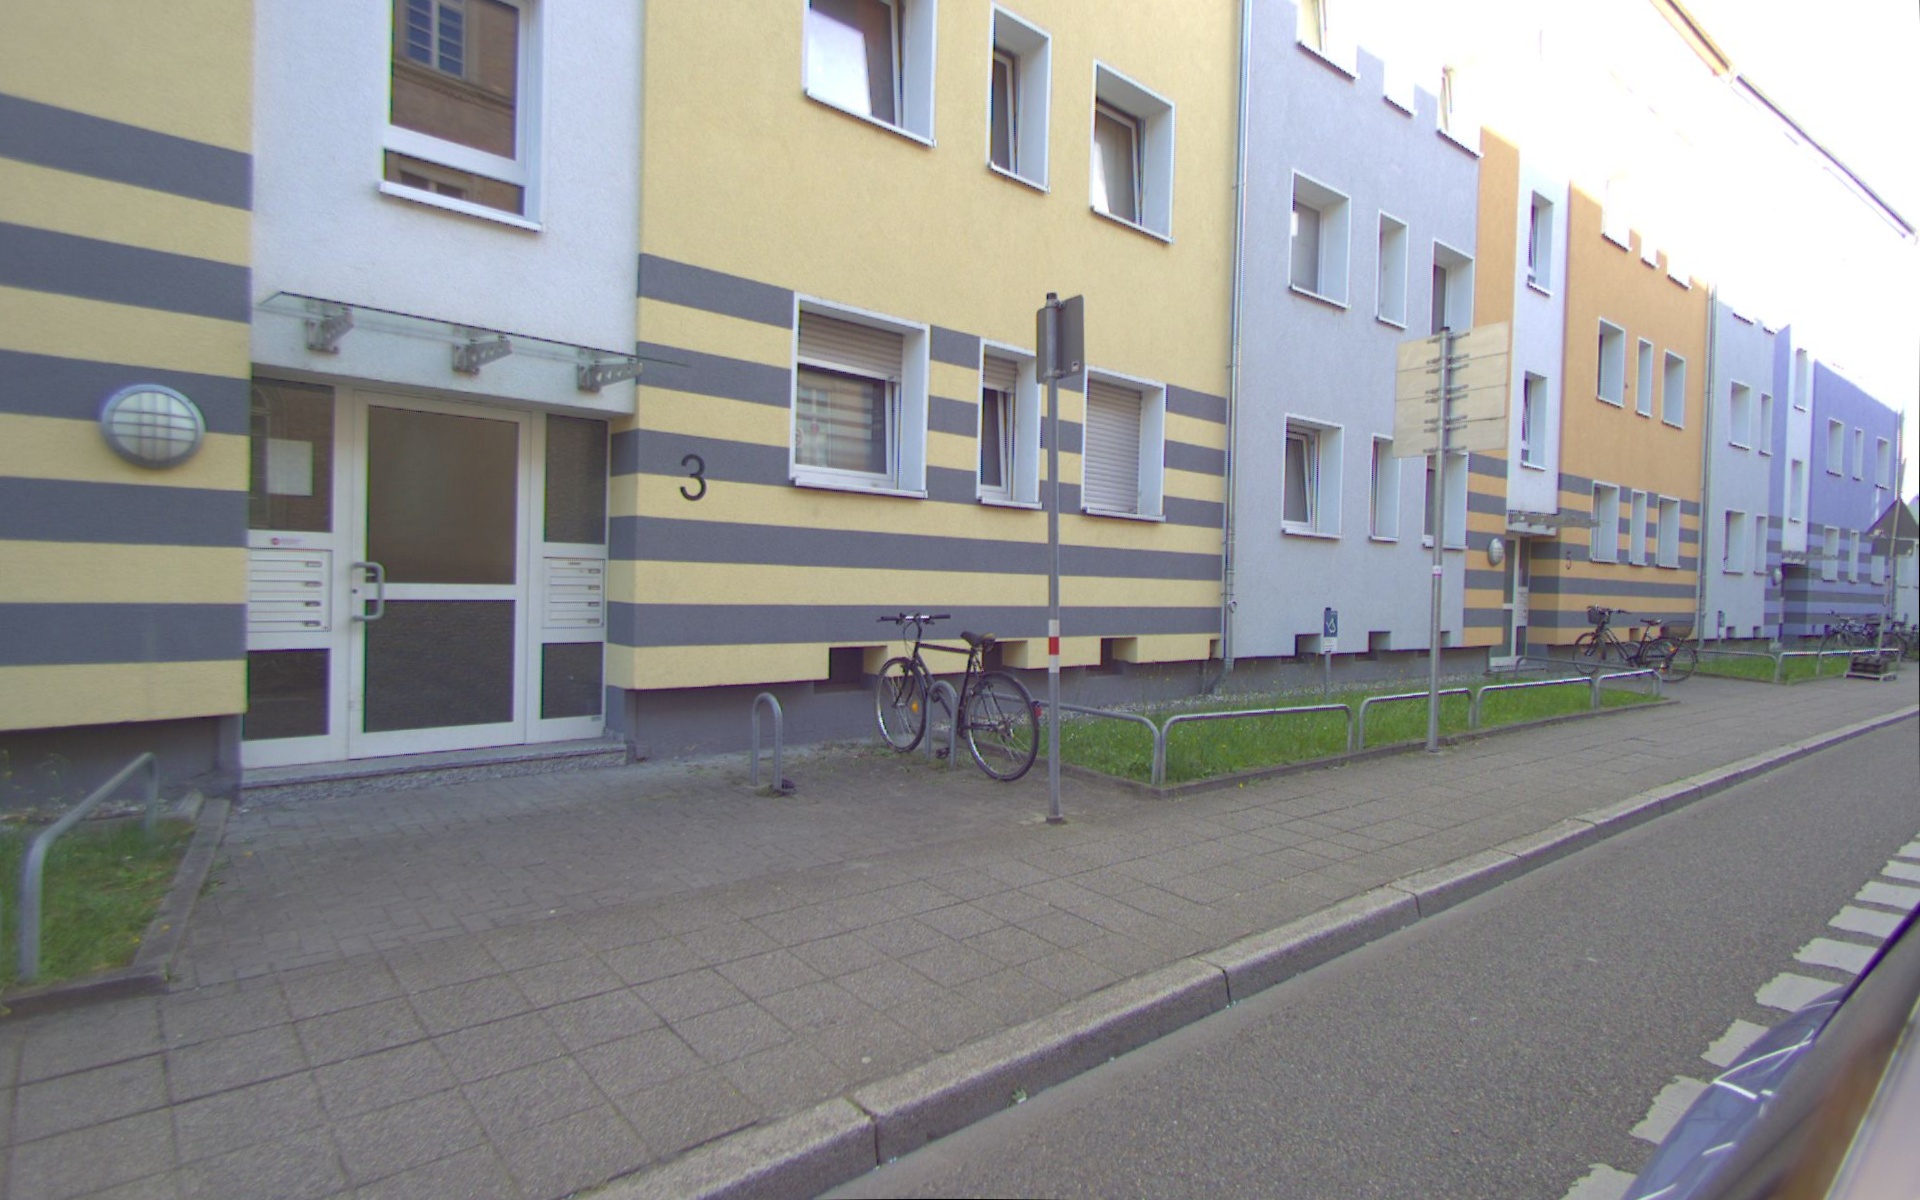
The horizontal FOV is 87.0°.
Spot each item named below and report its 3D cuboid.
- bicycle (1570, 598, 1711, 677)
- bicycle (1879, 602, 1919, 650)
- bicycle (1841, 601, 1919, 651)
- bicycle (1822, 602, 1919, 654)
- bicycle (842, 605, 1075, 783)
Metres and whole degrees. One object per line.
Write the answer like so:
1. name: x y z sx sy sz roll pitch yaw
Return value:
1. bicycle: 10.701 0.560 15.958 1.775 1.137 0.476 3 1 44
2. bicycle: 24.148 0.655 25.290 0.475 1.166 1.678 1 1 -37
3. bicycle: 23.321 0.643 25.433 0.475 1.166 1.678 1 1 -37
4. bicycle: 22.239 0.660 24.741 0.475 1.166 1.678 1 1 -37
5. bicycle: -0.061 0.584 7.029 1.775 1.031 0.476 3 1 44
